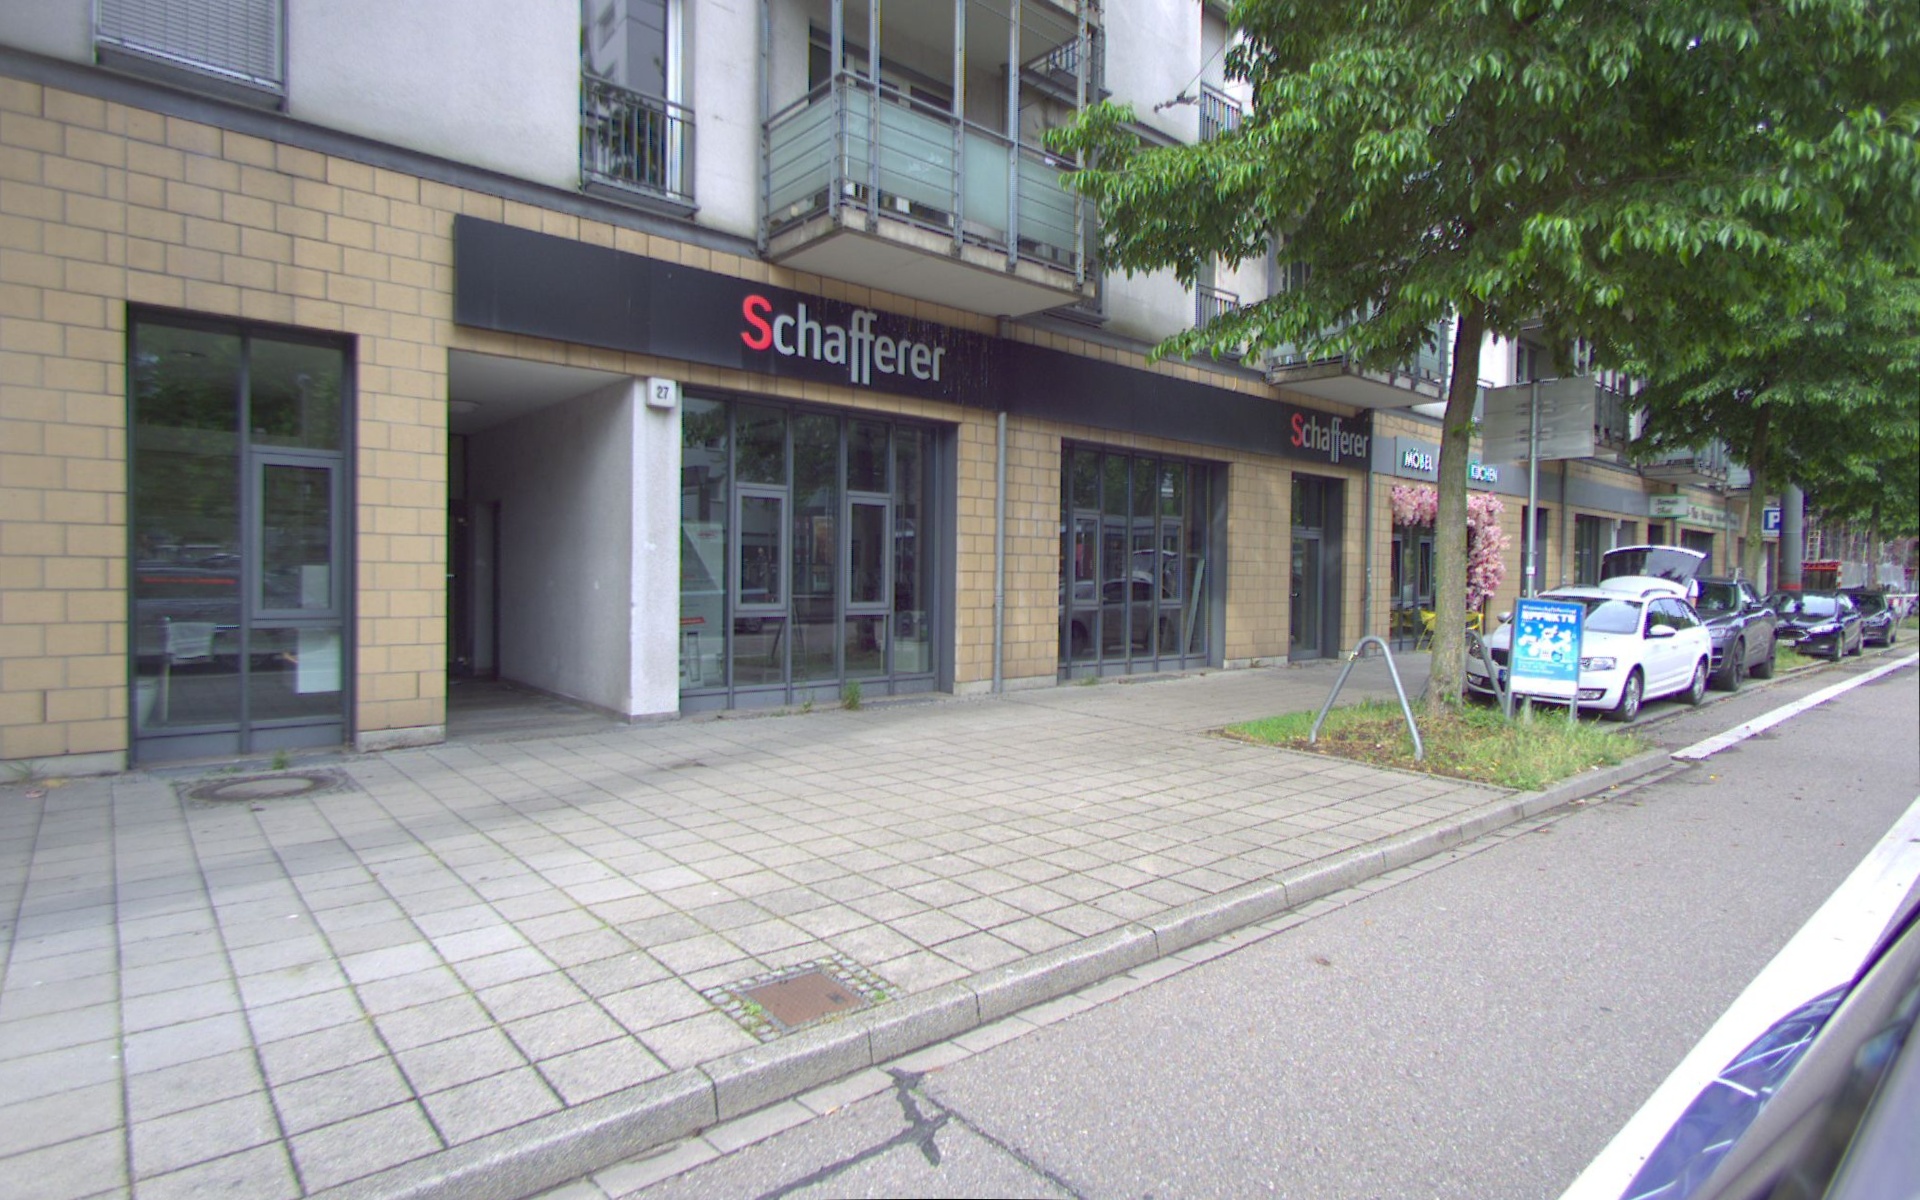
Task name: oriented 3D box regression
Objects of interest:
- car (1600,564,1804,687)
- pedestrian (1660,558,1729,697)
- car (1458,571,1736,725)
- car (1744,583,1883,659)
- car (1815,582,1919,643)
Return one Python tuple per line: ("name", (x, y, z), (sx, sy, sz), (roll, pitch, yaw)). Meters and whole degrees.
("car", (11.798, 0.317, 16.026), (3.732, 1.630, 1.738), (-1, 5, -41))
("pedestrian", (10.369, 0.369, 14.294), (0.588, 1.907, 0.656), (0, 1, -40))
("car", (8.126, 0.473, 12.753), (4.233, 1.539, 1.738), (-1, 5, -41))
("car", (18.638, 0.385, 22.043), (4.095, 1.394, 1.612), (-1, 5, -41))
("car", (24.159, 0.286, 26.869), (3.603, 1.417, 1.612), (-1, 5, -41))
